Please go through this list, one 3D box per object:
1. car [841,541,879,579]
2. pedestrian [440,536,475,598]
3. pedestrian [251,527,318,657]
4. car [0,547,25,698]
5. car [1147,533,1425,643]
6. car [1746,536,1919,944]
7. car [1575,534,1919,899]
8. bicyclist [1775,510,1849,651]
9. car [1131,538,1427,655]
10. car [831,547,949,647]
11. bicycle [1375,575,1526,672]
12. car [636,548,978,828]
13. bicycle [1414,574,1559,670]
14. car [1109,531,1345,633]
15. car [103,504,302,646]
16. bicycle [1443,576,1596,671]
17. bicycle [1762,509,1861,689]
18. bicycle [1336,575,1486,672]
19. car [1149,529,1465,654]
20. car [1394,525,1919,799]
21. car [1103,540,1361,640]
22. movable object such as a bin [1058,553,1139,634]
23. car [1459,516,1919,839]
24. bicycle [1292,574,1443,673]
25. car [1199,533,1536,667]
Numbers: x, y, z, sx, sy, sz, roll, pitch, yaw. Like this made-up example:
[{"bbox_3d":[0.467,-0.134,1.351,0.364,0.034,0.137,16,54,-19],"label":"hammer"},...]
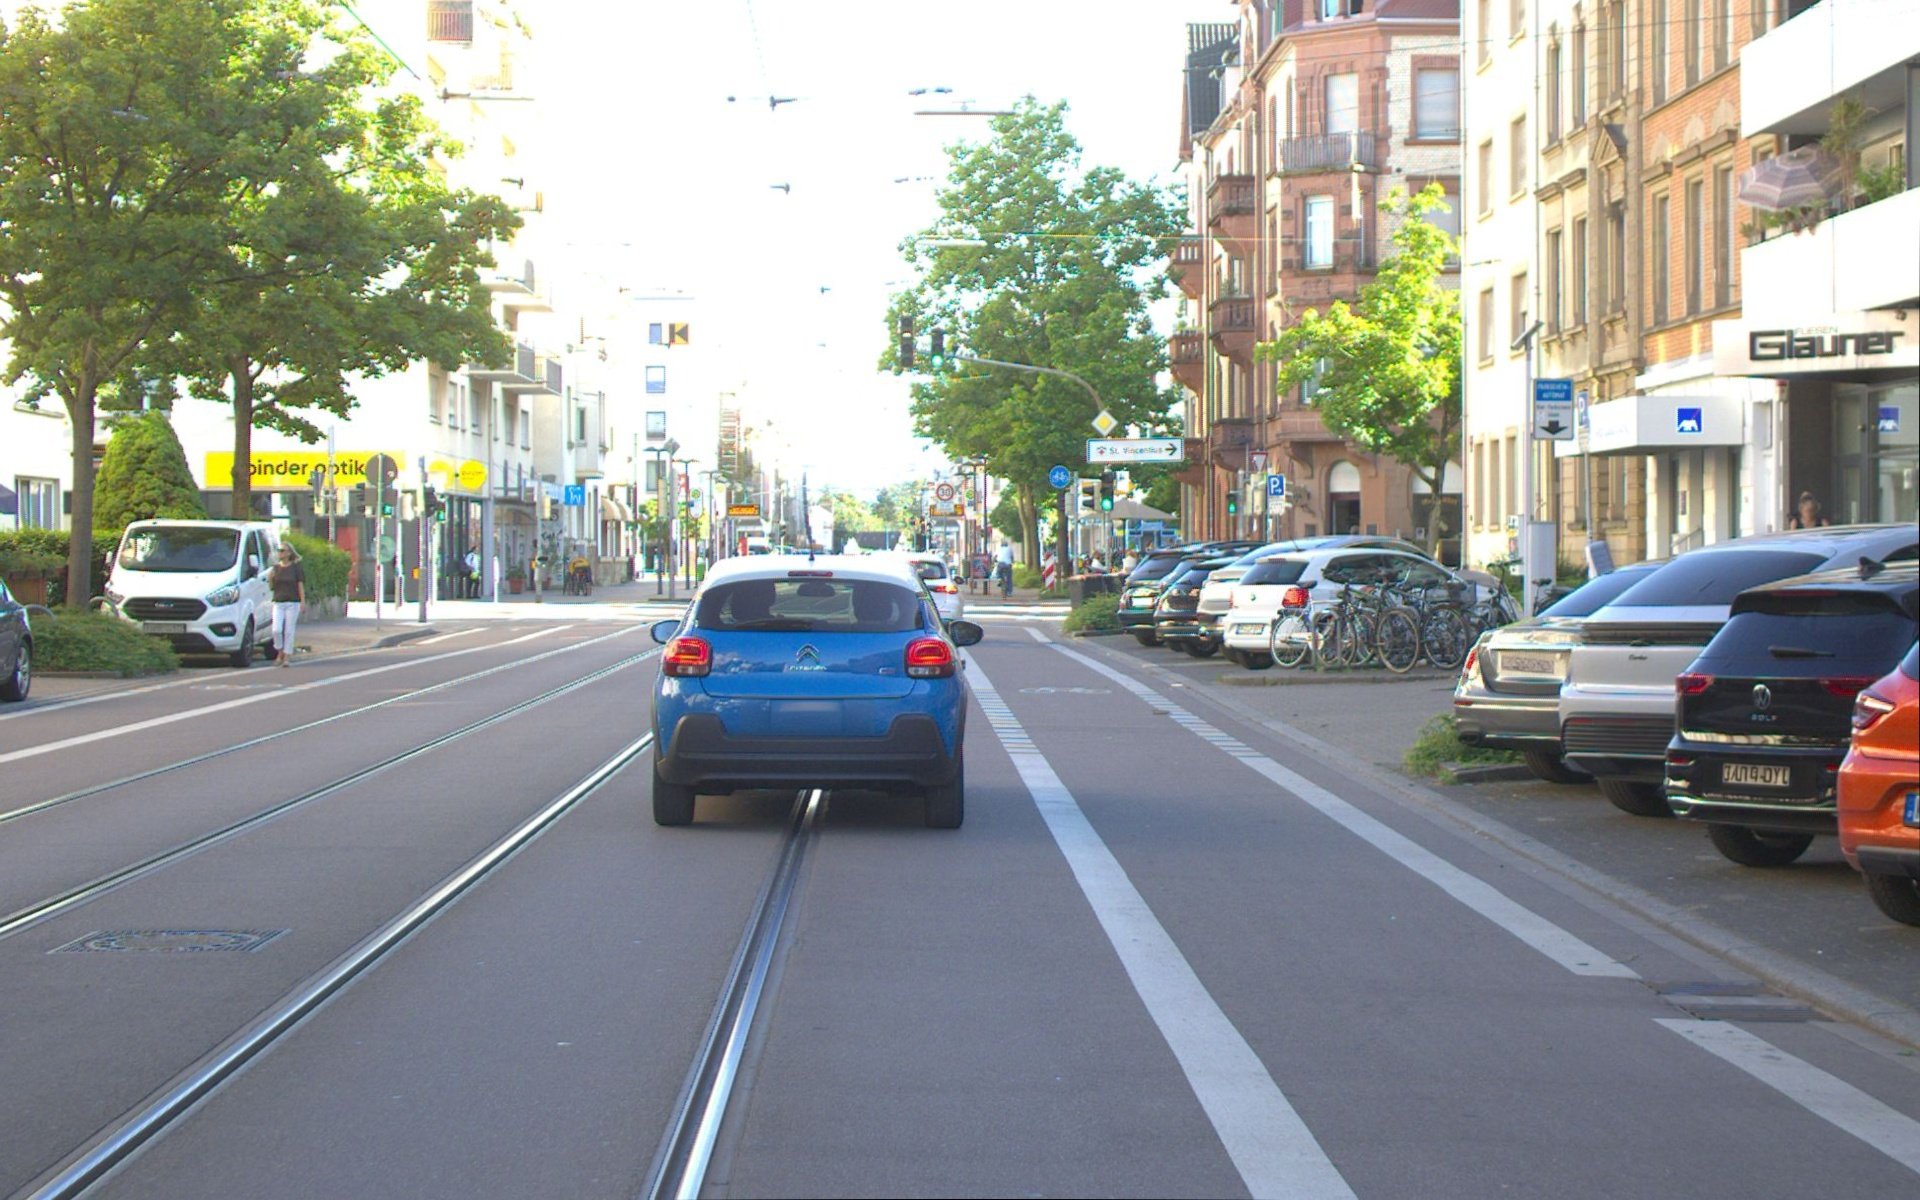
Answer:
[{"bbox_3d":[-3.908,-1.557,134.439,1.423,1.427,3.139,1,1,-1],"label":"car"},{"bbox_3d":[-14.480,-0.953,99.133,0.944,1.745,0.700,1,0,-5],"label":"pedestrian"},{"bbox_3d":[-9.007,-0.104,45.808,0.729,1.720,0.628,1,0,-25],"label":"pedestrian"},{"bbox_3d":[-10.228,0.219,32.865,1.747,1.482,4.043,1,1,-4],"label":"car"},{"bbox_3d":[4.836,-0.175,51.160,3.653,1.568,1.861,1,1,-20],"label":"car"},{"bbox_3d":[5.194,0.533,13.724,3.718,1.515,1.968,0,1,-33],"label":"car"},{"bbox_3d":[4.835,0.488,16.273,3.441,1.550,1.824,0,1,-32],"label":"car"},{"bbox_3d":[9.859,-0.230,39.797,0.732,1.617,0.528,1,0,5],"label":"bicyclist"},{"bbox_3d":[4.450,-0.055,48.040,3.653,1.568,1.861,1,1,-20],"label":"car"},{"bbox_3d":[-1.144,-0.067,57.367,1.873,1.590,4.000,1,1,-1],"label":"car"},{"bbox_3d":[5.500,0.257,38.638,0.553,1.044,1.807,0,1,-36],"label":"bicycle"},{"bbox_3d":[-0.836,0.441,19.710,1.762,1.436,3.557,1,1,-1],"label":"car"},{"bbox_3d":[5.958,0.238,38.968,0.468,1.044,1.807,0,1,-37],"label":"bicycle"},{"bbox_3d":[4.635,-0.317,59.807,3.653,1.709,1.789,1,1,-20],"label":"car"},{"bbox_3d":[-10.352,-0.347,47.242,1.831,1.841,4.214,1,1,-1],"label":"car"},{"bbox_3d":[6.398,0.263,39.394,0.553,1.044,1.807,0,1,-39],"label":"bicycle"},{"bbox_3d":[9.849,-0.023,39.834,0.728,2.007,2.358,1,1,5],"label":"bicycle"},{"bbox_3d":[5.003,0.251,38.255,0.553,1.044,1.807,0,1,-36],"label":"bicycle"},{"bbox_3d":[4.531,-0.106,44.987,3.653,1.568,1.861,1,1,-20],"label":"car"},{"bbox_3d":[4.647,0.361,22.216,3.442,1.634,1.684,0,1,-37],"label":"car"},{"bbox_3d":[4.310,-0.156,54.646,3.653,1.529,1.789,1,1,-20],"label":"car"},{"bbox_3d":[2.559,-0.126,63.886,1.394,1.478,1.655,1,0,-1],"label":"movable object such as a bin"},{"bbox_3d":[4.917,0.390,19.412,3.718,1.646,2.048,0,1,-33],"label":"car"},{"bbox_3d":[4.481,0.250,37.894,0.553,1.044,1.807,0,1,-36],"label":"bicycle"},{"bbox_3d":[4.968,-0.005,41.873,3.653,1.568,1.861,0,1,-29],"label":"car"}]
